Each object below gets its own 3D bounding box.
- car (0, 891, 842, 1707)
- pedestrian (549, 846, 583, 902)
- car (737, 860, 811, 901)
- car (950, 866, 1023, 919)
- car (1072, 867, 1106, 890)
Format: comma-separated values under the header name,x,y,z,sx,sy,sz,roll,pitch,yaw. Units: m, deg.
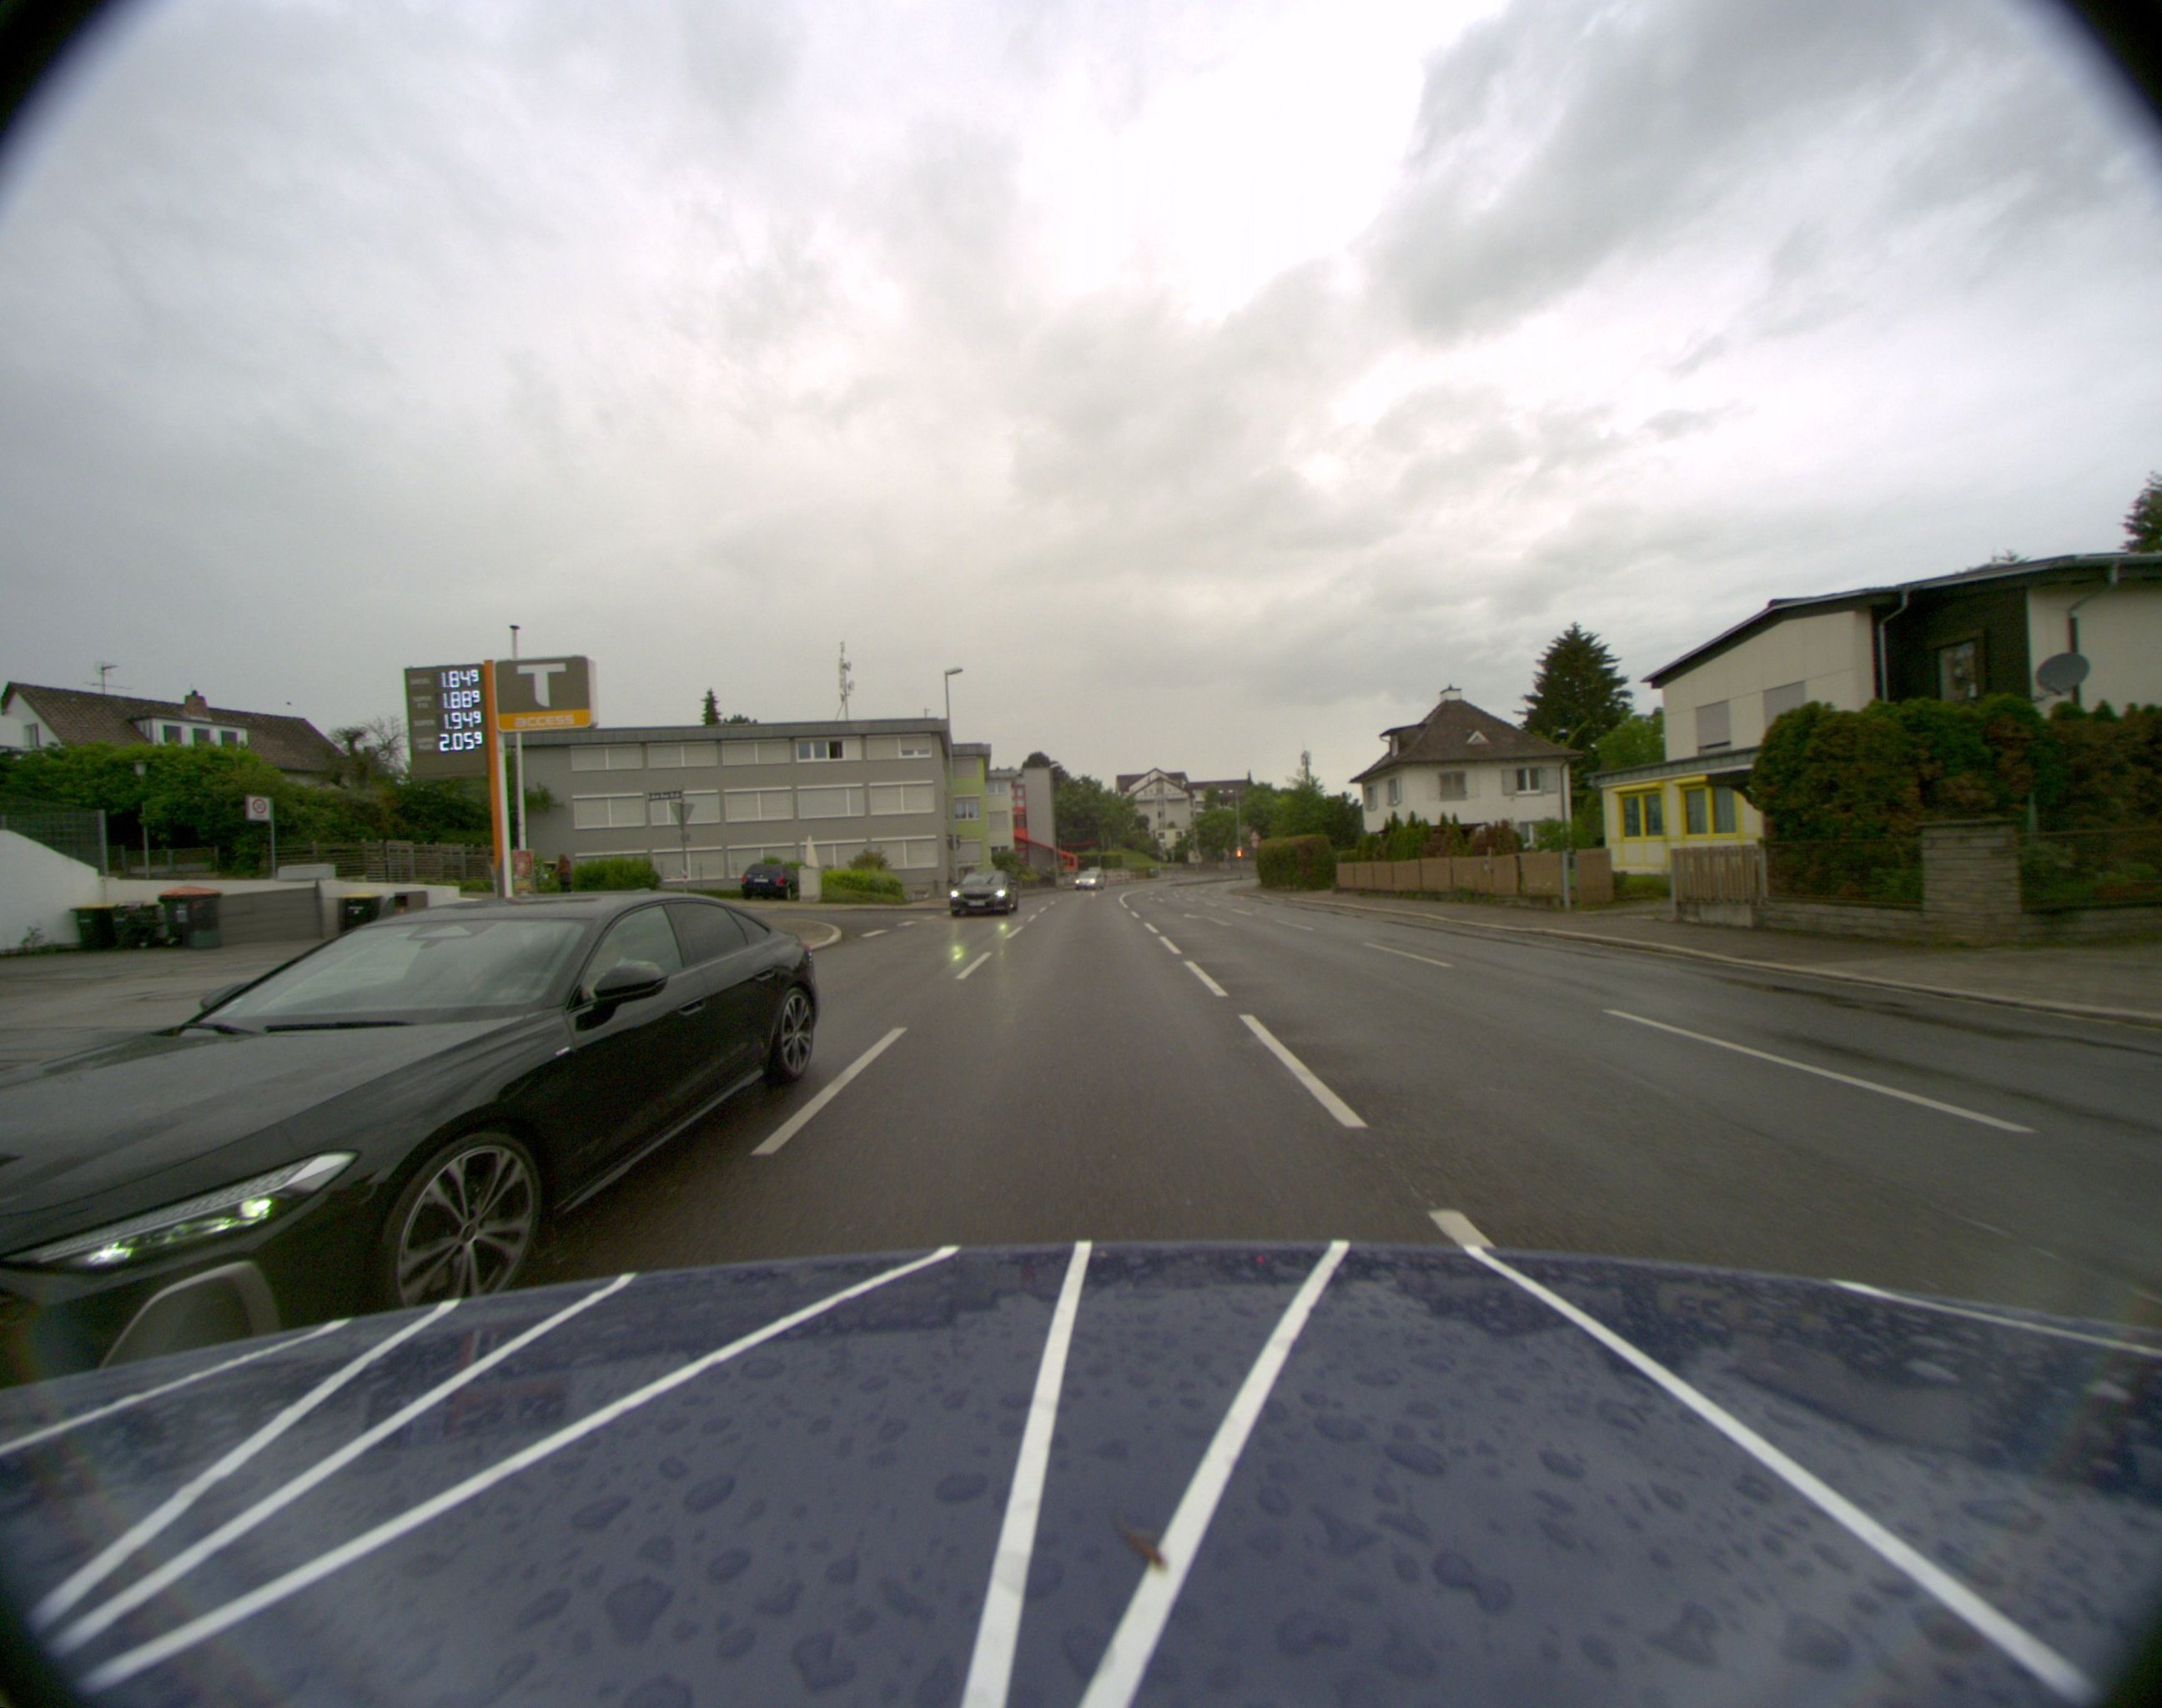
name,x,y,z,sx,sy,sz,roll,pitch,yaw
car,-2.951,1.066,3.752,1.871,1.416,4.739,-2,1,2
pedestrian,-18.985,0.735,28.008,0.717,2.002,0.614,-2,1,-1
car,-12.525,1.035,31.250,1.815,1.518,3.997,1,0,-7
car,-3.138,1.249,26.010,1.872,1.510,4.000,-2,1,1
car,0.720,1.995,63.331,1.997,1.647,4.003,-2,1,12
